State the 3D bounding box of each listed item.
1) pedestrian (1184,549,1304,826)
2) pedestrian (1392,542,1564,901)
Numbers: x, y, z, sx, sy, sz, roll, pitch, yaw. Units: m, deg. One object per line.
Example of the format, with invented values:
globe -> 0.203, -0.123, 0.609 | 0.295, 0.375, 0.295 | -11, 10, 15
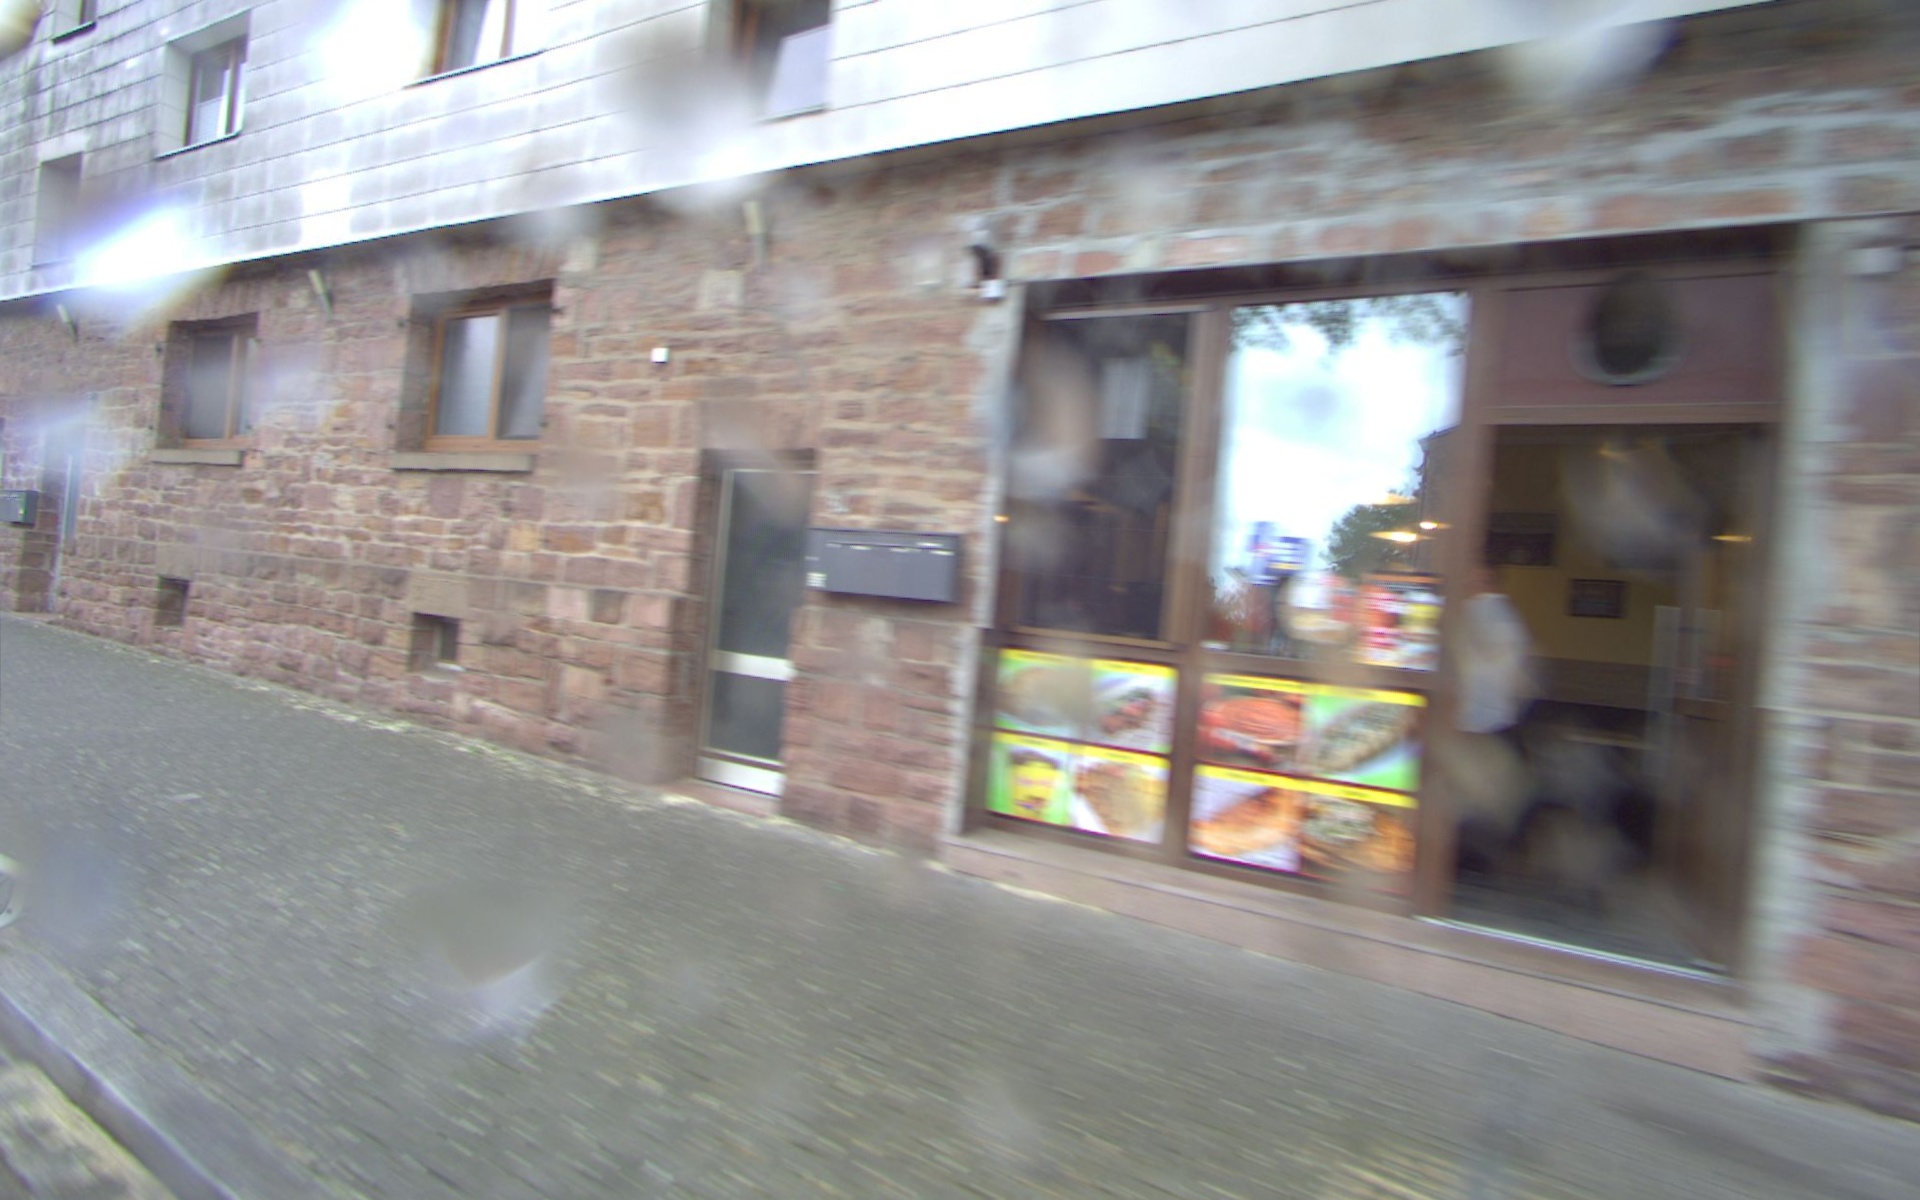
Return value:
pedestrian -> 1.842, 0.555, 6.505 | 0.447, 1.679, 0.493 | 6, -1, 31
pedestrian -> 2.777, 0.629, 5.371 | 0.478, 1.750, 0.799 | 6, -2, 41
